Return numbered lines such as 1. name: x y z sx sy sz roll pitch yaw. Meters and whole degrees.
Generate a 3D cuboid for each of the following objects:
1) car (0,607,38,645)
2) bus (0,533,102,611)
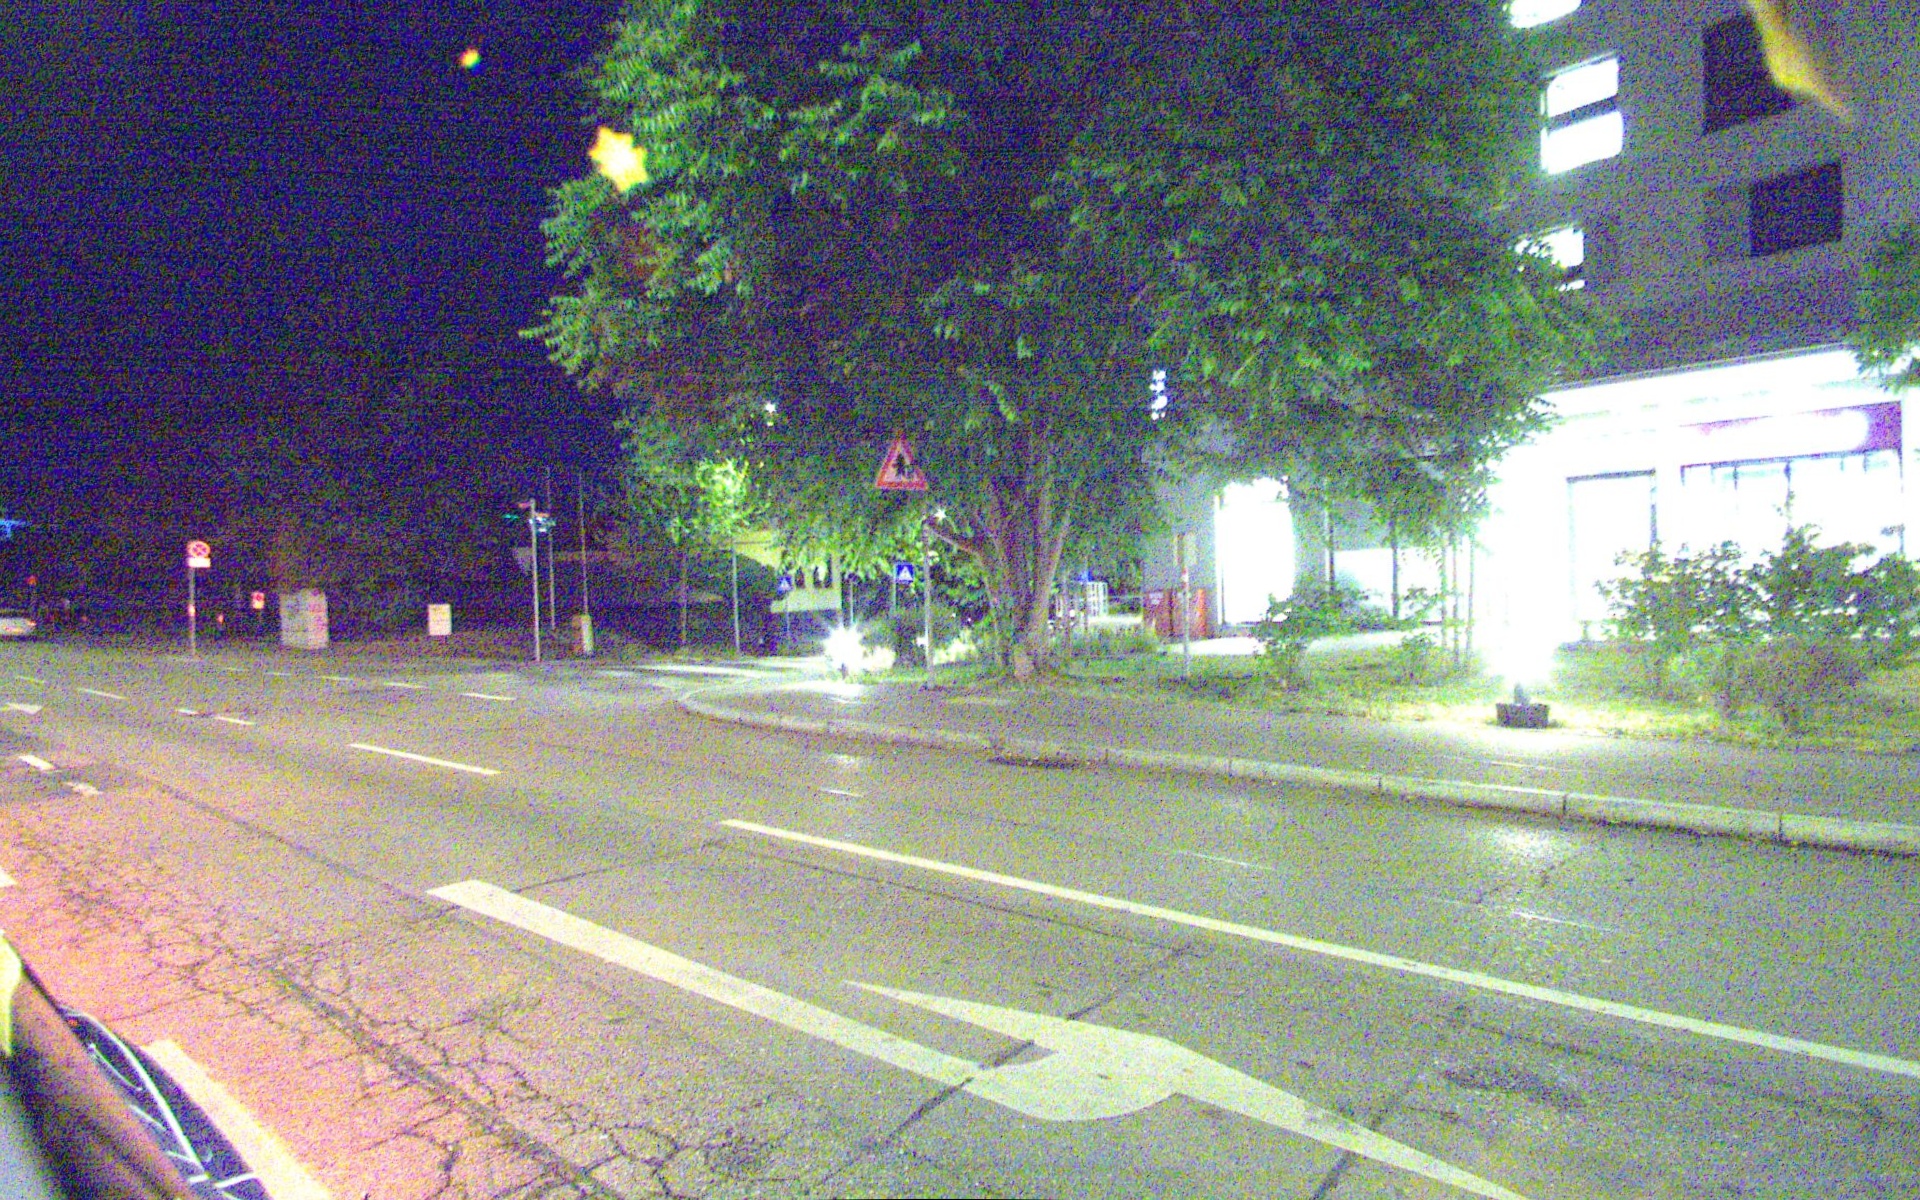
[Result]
1. car: -43.162 1.165 45.659 3.997 1.604 1.783 -1 0 40
2. bus: -88.531 -2.481 98.122 14.776 6.990 6.056 -1 0 41
